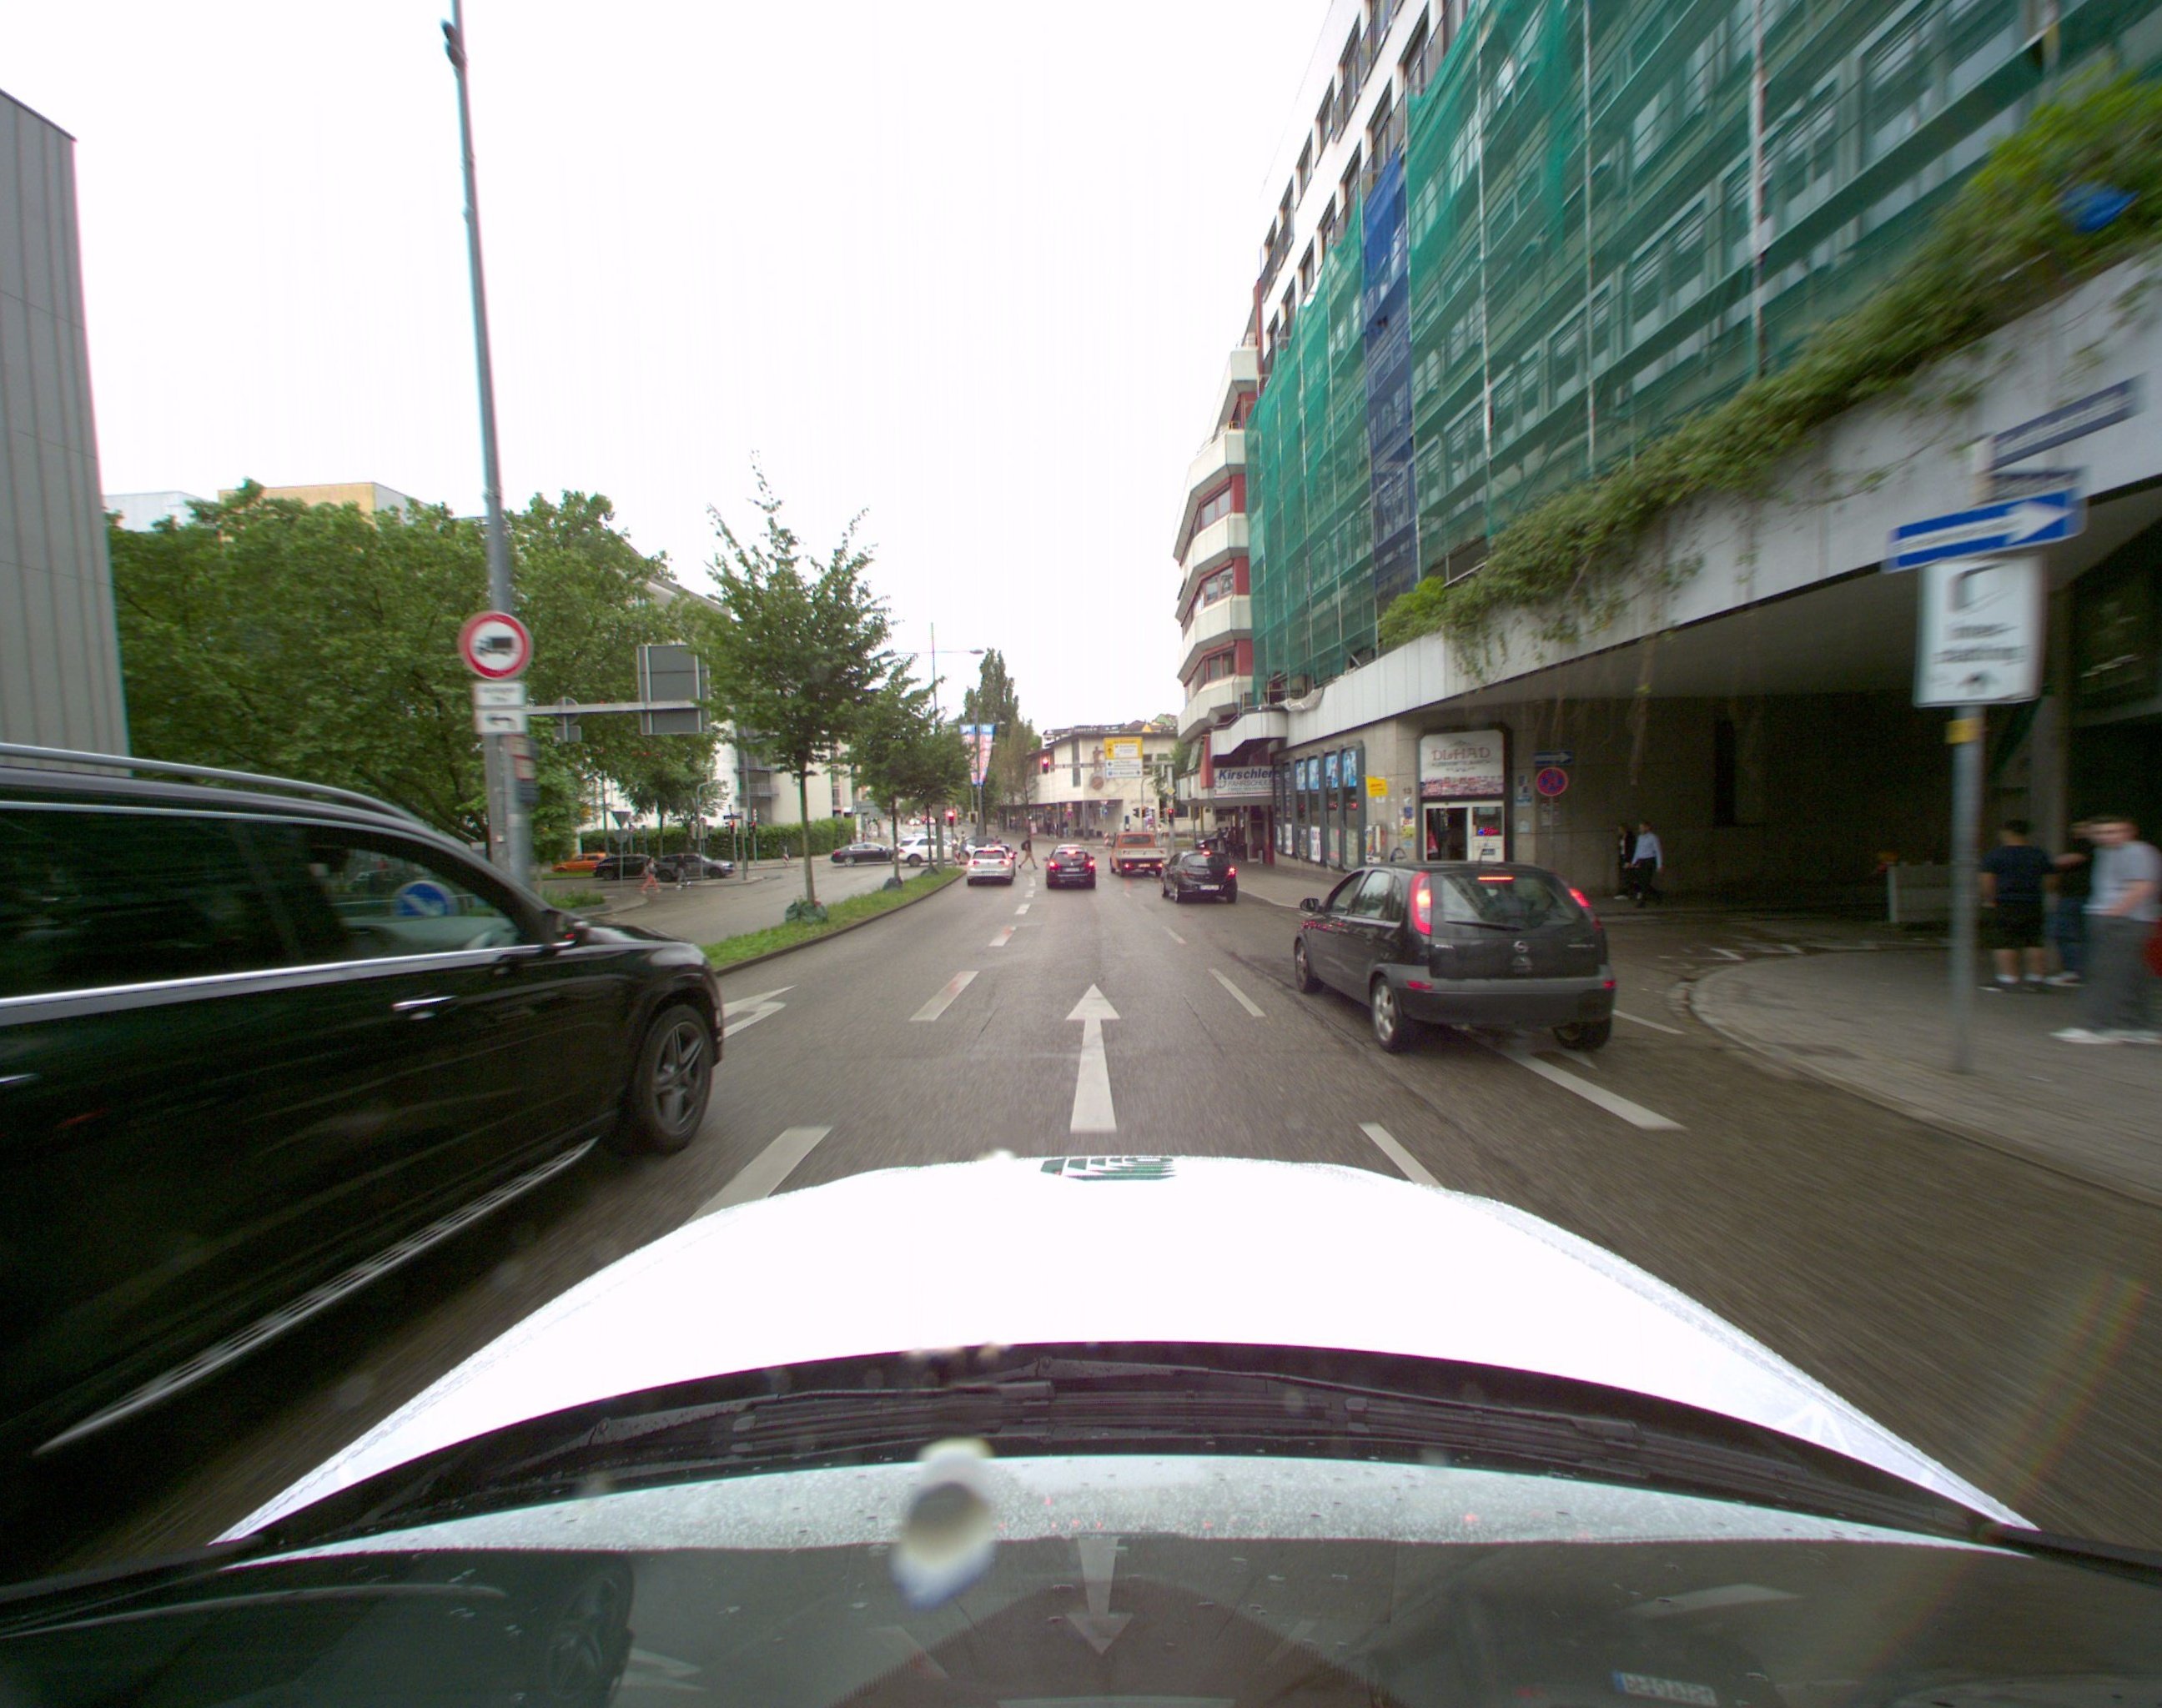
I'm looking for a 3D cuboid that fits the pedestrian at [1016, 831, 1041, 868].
[{"bbox_3d":[-2.770,-0.255,42.855,1.058,1.881,0.840,-3,1,6],"label":"pedestrian"}]

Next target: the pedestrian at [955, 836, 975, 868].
[{"bbox_3d":[-6.381,-0.122,44.734,0.831,1.722,0.820,-3,1,6],"label":"pedestrian"}]

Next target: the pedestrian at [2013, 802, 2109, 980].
[{"bbox_3d":[10.008,0.349,8.334,0.508,1.735,0.643,-1,2,39],"label":"pedestrian"}]

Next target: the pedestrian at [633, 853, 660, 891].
[{"bbox_3d":[-20.751,0.862,38.924,0.698,1.779,0.884,-3,1,44],"label":"pedestrian"}]

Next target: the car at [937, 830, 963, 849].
[{"bbox_3d":[-11.122,-1.217,69.167,1.817,1.549,3.993,-2,1,-5],"label":"car"}]

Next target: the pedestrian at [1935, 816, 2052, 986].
[{"bbox_3d":[9.276,0.455,8.302,0.593,1.662,0.578,-2,2,21],"label":"pedestrian"}]

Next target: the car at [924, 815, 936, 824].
[{"bbox_3d":[-30.674,-7.013,165.386,1.998,1.596,3.978,-2,1,-16],"label":"car"}]

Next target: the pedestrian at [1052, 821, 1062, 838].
[{"bbox_3d":[-2.642,-2.744,89.693,0.848,1.802,1.051,-3,1,-15],"label":"pedestrian"}]

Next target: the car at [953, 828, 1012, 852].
[{"bbox_3d":[-6.948,-1.012,57.812,3.980,1.527,1.844,-2,1,-5],"label":"car"}]

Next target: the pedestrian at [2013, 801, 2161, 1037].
[{"bbox_3d":[7.548,0.457,6.078,0.635,1.649,0.566,-4,0,41],"label":"pedestrian"}]

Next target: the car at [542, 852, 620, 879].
[{"bbox_3d":[-33.313,0.750,54.317,4.000,1.616,1.767,-2,0,-13],"label":"car"}]

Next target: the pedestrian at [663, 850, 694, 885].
[{"bbox_3d":[-20.543,0.690,41.550,0.801,1.708,1.063,-3,1,38],"label":"pedestrian"}]

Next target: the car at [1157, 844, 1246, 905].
[{"bbox_3d":[3.438,0.523,23.990,1.944,1.574,3.999,-2,1,-1],"label":"car"}]

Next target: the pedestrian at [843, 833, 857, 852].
[{"bbox_3d":[-20.156,-1.045,71.102,0.931,1.608,0.557,-4,1,-41],"label":"pedestrian"}]

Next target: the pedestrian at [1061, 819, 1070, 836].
[{"bbox_3d":[-1.713,-2.903,90.124,0.703,1.802,0.934,-3,1,-15],"label":"pedestrian"}]

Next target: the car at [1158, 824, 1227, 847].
[{"bbox_3d":[7.882,-1.315,57.579,4.406,1.436,1.990,-2,1,-16],"label":"car"}]

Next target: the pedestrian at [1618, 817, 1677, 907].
[{"bbox_3d":[11.990,0.147,17.262,0.614,1.778,0.838,-3,6,-3],"label":"pedestrian"}]

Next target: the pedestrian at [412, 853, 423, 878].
[{"bbox_3d":[-47.702,0.824,58.573,0.509,1.709,0.610,-4,1,-43],"label":"pedestrian"}]

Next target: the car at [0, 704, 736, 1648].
[{"bbox_3d":[-3.112,0.606,2.406,2.080,1.817,4.793,0,1,0],"label":"car"}]

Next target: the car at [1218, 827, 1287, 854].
[{"bbox_3d":[11.684,-0.926,55.537,4.151,1.657,1.834,-2,0,-12],"label":"car"}]

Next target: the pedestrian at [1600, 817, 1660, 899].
[{"bbox_3d":[12.266,0.076,18.218,0.716,1.721,0.769,-1,8,-3],"label":"pedestrian"}]

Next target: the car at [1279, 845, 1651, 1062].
[{"bbox_3d":[3.080,0.663,7.457,1.710,1.420,3.772,-2,1,2],"label":"car"}]

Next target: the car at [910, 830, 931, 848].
[{"bbox_3d":[-14.906,-1.396,75.763,1.777,1.549,3.988,-2,1,-9],"label":"car"}]

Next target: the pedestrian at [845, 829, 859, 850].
[{"bbox_3d":[-20.422,-1.267,72.601,0.911,1.802,0.620,-4,1,-41],"label":"pedestrian"}]

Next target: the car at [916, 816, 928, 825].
[{"bbox_3d":[-33.835,-7.118,172.983,1.756,1.554,3.541,-2,1,-23],"label":"car"}]

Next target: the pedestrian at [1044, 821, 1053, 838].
[{"bbox_3d":[-3.580,-2.717,89.899,0.800,1.802,0.913,-3,1,-15],"label":"pedestrian"}]

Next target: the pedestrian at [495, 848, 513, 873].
[{"bbox_3d":[-42.062,0.472,59.373,0.615,1.778,0.830,-3,1,-6],"label":"pedestrian"}]

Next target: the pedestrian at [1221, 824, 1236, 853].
[{"bbox_3d":[8.838,-0.915,48.675,0.576,1.699,0.647,-3,1,-15],"label":"pedestrian"}]

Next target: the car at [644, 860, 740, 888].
[{"bbox_3d":[-22.210,1.113,46.694,4.596,1.482,1.934,-1,0,-13],"label":"car"}]

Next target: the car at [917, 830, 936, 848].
[{"bbox_3d":[-15.629,-1.491,82.458,1.705,1.720,3.988,-2,1,-9],"label":"car"}]

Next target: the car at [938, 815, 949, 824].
[{"bbox_3d":[-28.271,-7.140,167.846,1.835,1.588,3.854,-2,1,-15],"label":"car"}]

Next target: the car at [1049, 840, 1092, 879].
[{"bbox_3d":[-0.545,0.194,37.076,1.757,1.542,3.996,-2,2,-3],"label":"car"}]

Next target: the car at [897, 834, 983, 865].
[{"bbox_3d":[-8.597,-0.275,49.544,5.077,1.759,1.991,-1,0,-13],"label":"car"}]

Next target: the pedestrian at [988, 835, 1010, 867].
[{"bbox_3d":[-4.639,-0.194,45.956,1.006,1.722,0.839,-3,1,4],"label":"pedestrian"}]

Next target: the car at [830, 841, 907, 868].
[{"bbox_3d":[-13.639,0.041,52.380,4.691,1.643,1.778,-1,0,-15],"label":"car"}]

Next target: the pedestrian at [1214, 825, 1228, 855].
[{"bbox_3d":[8.273,-0.836,48.203,0.576,1.699,0.648,-3,1,-10],"label":"pedestrian"}]

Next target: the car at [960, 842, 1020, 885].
[{"bbox_3d":[-3.617,0.327,32.898,1.944,1.574,3.999,-2,1,0],"label":"car"}]

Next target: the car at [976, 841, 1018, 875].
[{"bbox_3d":[-3.952,0.164,38.918,1.790,1.468,3.996,-2,1,-3],"label":"car"}]

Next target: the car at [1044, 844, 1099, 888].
[{"bbox_3d":[-0.412,0.395,30.587,1.808,1.440,3.994,-1,2,-4],"label":"car"}]

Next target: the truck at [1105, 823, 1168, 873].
[{"bbox_3d":[2.481,-0.307,37.789,2.179,2.082,5.596,-2,1,-4],"label":"truck"}]
